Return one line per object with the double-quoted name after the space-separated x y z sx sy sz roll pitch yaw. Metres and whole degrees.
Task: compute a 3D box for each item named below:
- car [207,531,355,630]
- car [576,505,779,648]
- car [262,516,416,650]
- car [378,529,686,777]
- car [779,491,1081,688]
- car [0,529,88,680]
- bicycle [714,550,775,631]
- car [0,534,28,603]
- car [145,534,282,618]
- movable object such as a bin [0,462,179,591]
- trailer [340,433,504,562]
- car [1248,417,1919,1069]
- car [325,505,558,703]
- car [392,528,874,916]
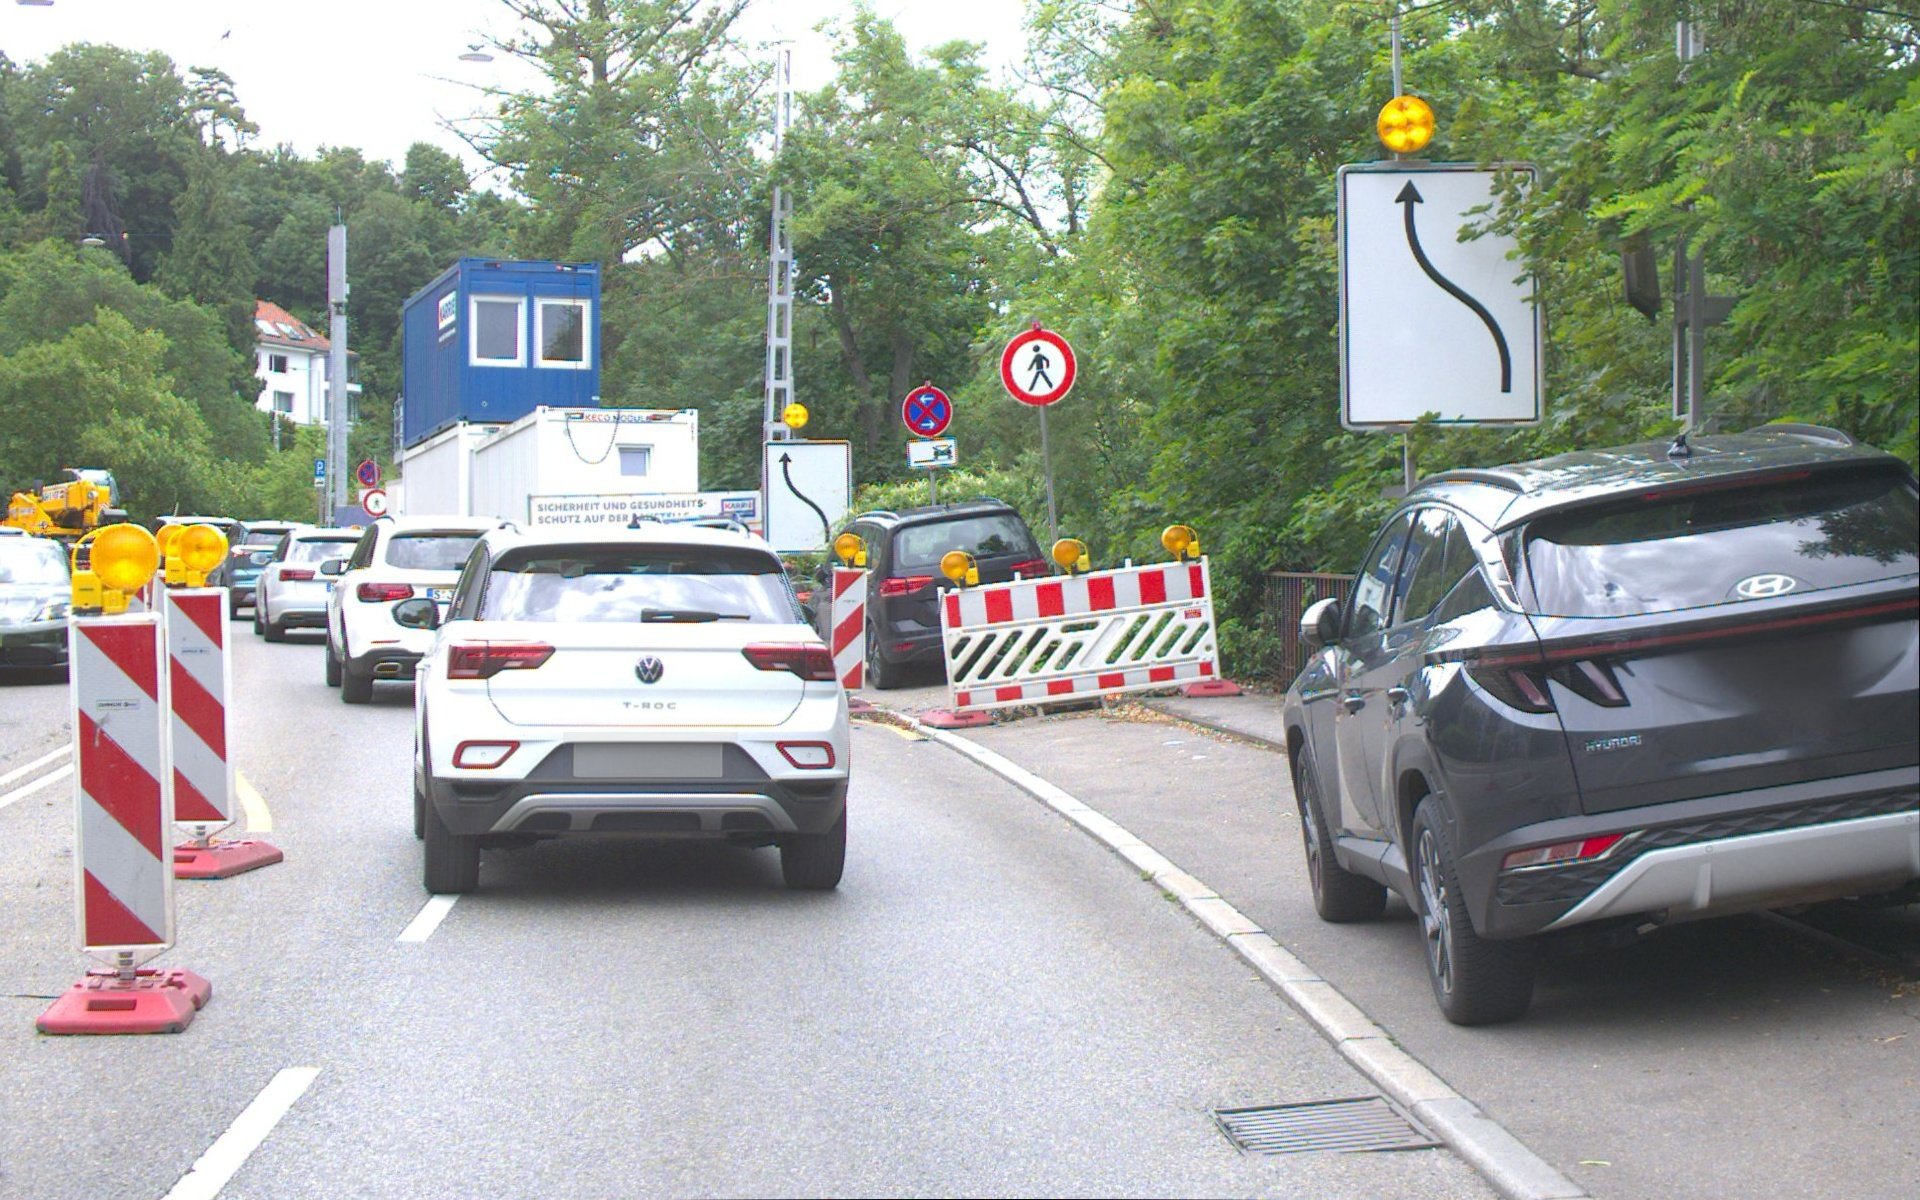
-10.876 -0.339 54.915 1.794 1.505 4.001 0 1 -19 "car"
-3.694 -0.339 44.276 1.839 1.637 4.504 -4 2 -13 "car"
-8.113 -0.247 44.694 1.809 1.657 4.001 0 1 -12 "car"
-2.983 0.286 23.307 1.809 1.526 4.001 0 1 -11 "car"
-0.386 -0.148 33.855 1.861 1.668 4.648 -5 2 -13 "car"
-9.687 0.015 34.220 1.820 1.386 4.439 -2 1 -13 "car"
-3.097 -0.144 49.235 0.498 1.104 1.801 -2 2 -15 "bicycle"
-22.135 -0.719 77.248 1.794 1.505 4.001 0 1 -23 "car"
-14.026 -0.478 64.482 1.794 1.505 4.001 0 1 -23 "car"
-22.746 -1.907 88.303 2.811 3.060 7.824 2 1 -31 "movable object such as a bin"
-11.147 -2.104 70.938 2.106 2.541 5.120 -1 2 -23 "trailer"
2.195 0.324 11.557 1.853 1.668 4.279 -5 1 -1 "car"
-4.727 -0.009 30.942 1.809 1.657 4.001 0 1 -12 "car"
-1.616 0.441 15.645 1.809 1.526 4.001 0 1 -11 "car"
